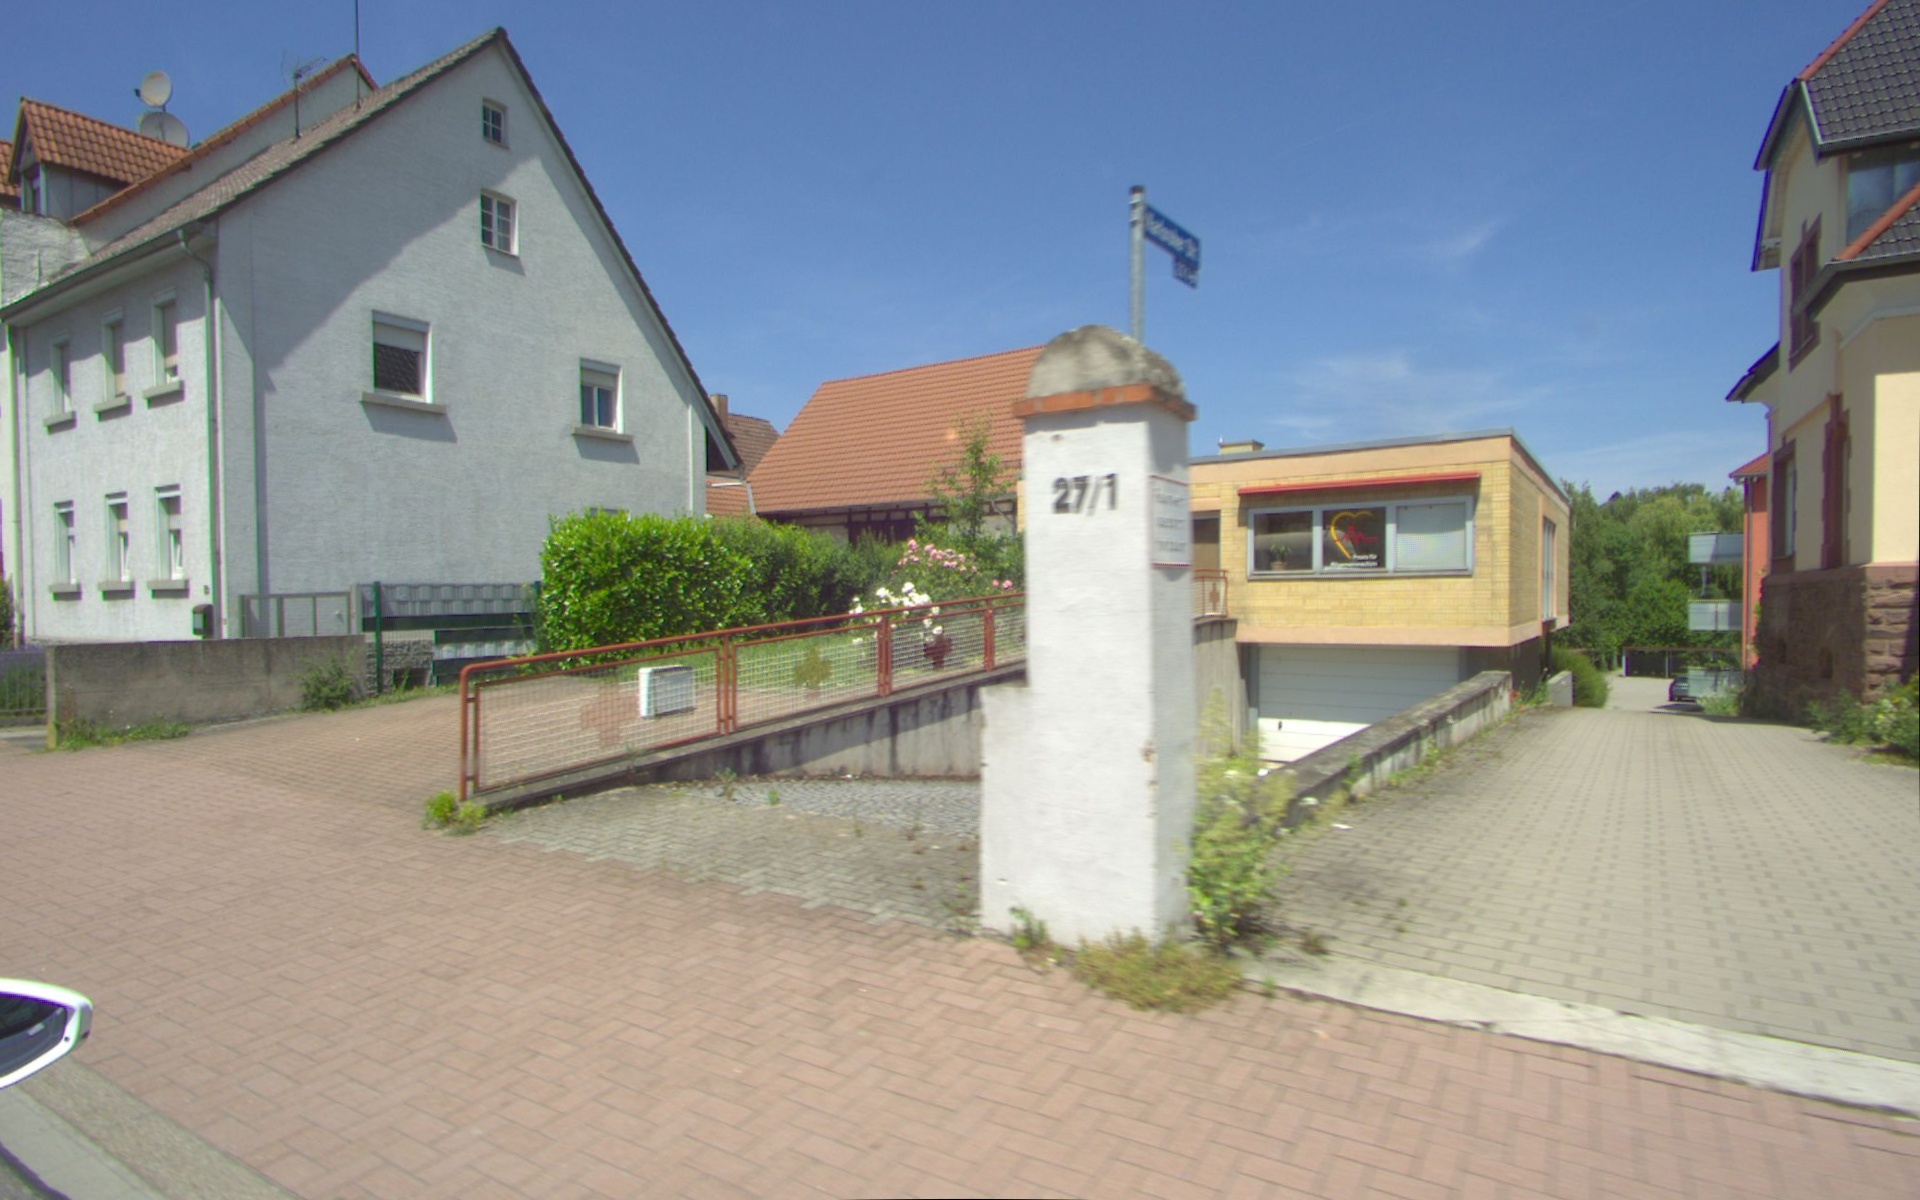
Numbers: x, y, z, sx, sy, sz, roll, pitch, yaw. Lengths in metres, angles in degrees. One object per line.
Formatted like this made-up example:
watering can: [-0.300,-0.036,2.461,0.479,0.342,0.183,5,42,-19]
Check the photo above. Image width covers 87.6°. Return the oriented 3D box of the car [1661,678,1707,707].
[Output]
car: [40.435,5.109,55.912,1.887,1.459,3.902,-1,-3,39]
